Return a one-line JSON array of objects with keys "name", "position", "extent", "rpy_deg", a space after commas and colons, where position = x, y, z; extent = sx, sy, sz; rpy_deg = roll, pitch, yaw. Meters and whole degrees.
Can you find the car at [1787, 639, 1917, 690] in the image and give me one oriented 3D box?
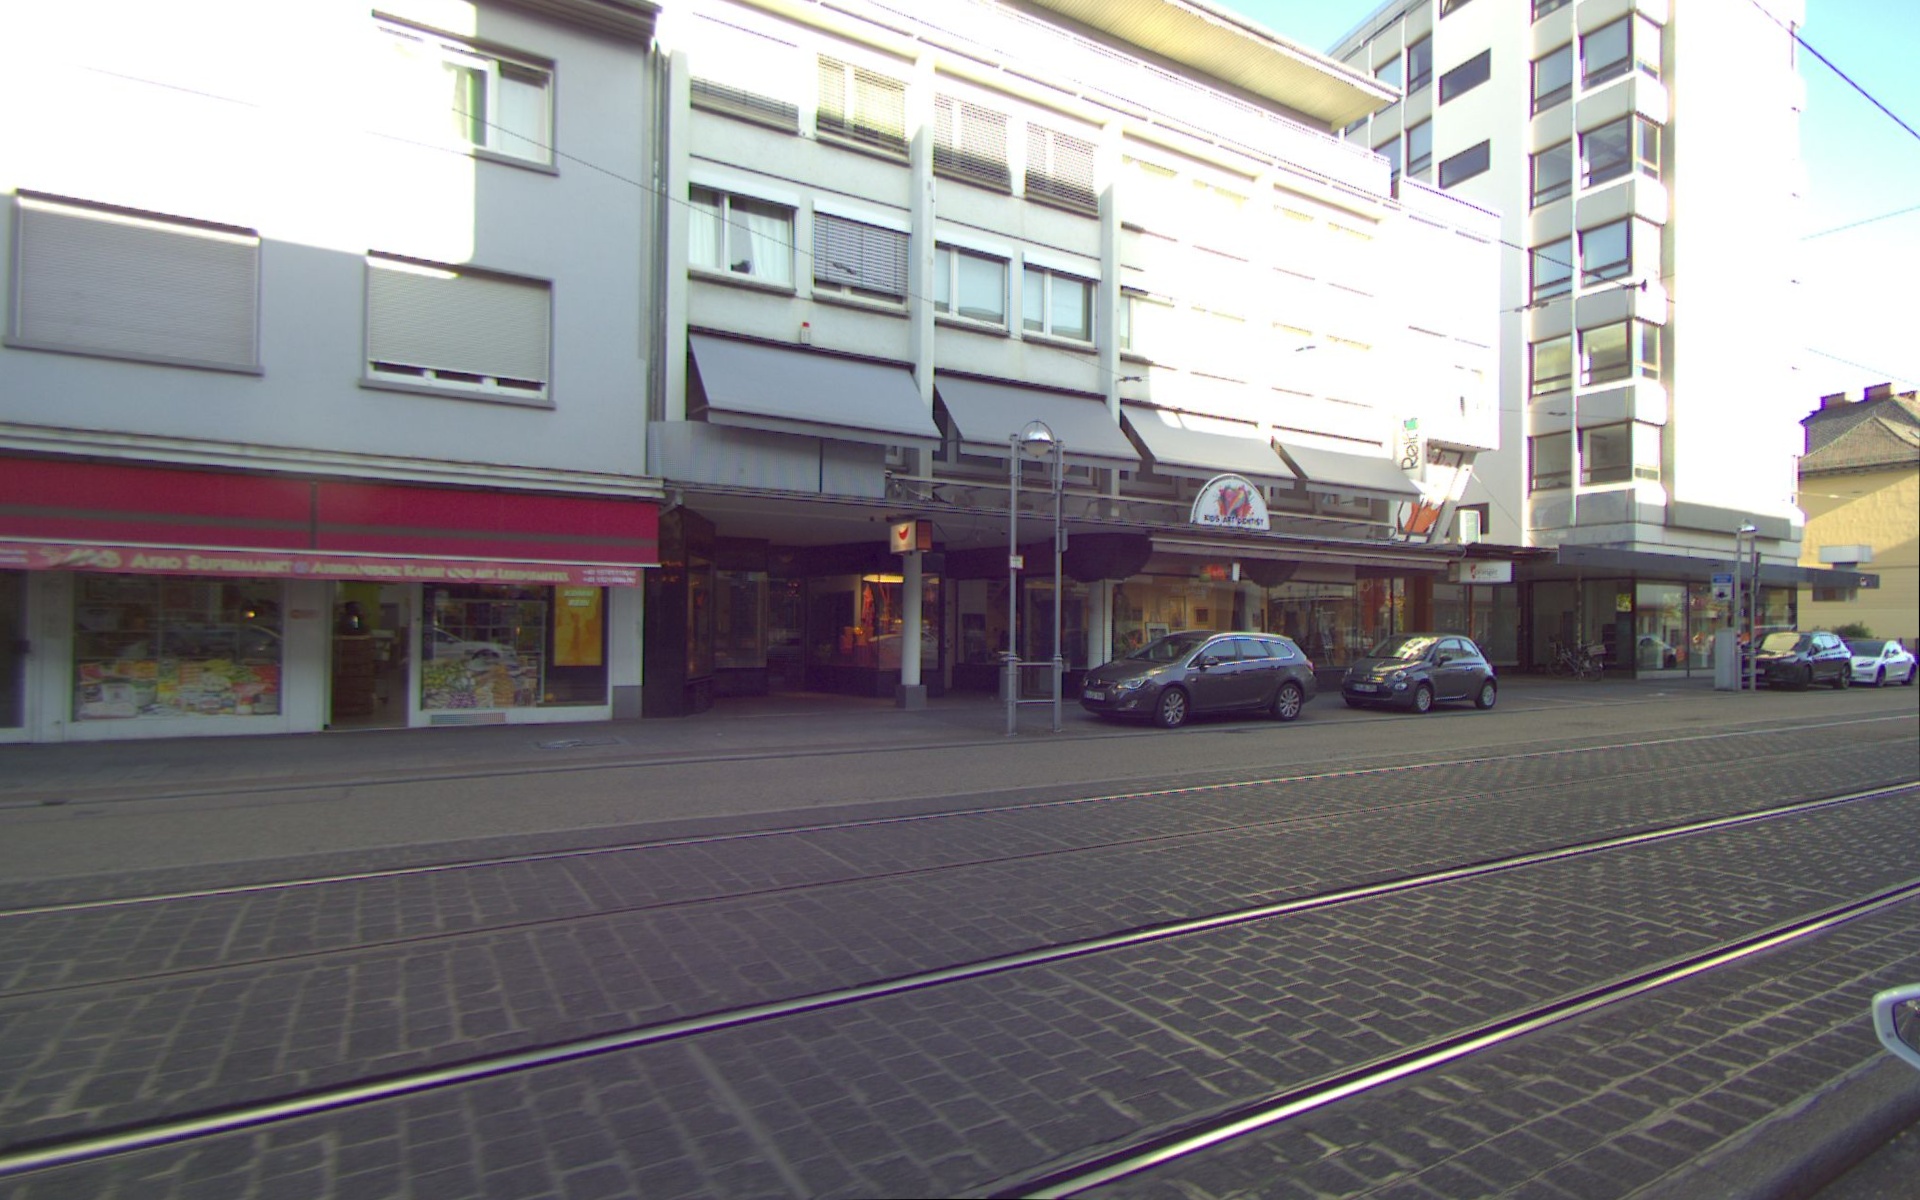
[{"name": "car", "position": [28.466, 2.031, 32.015], "extent": [4.605, 1.440, 1.878], "rpy_deg": [2, 0, -32]}]
